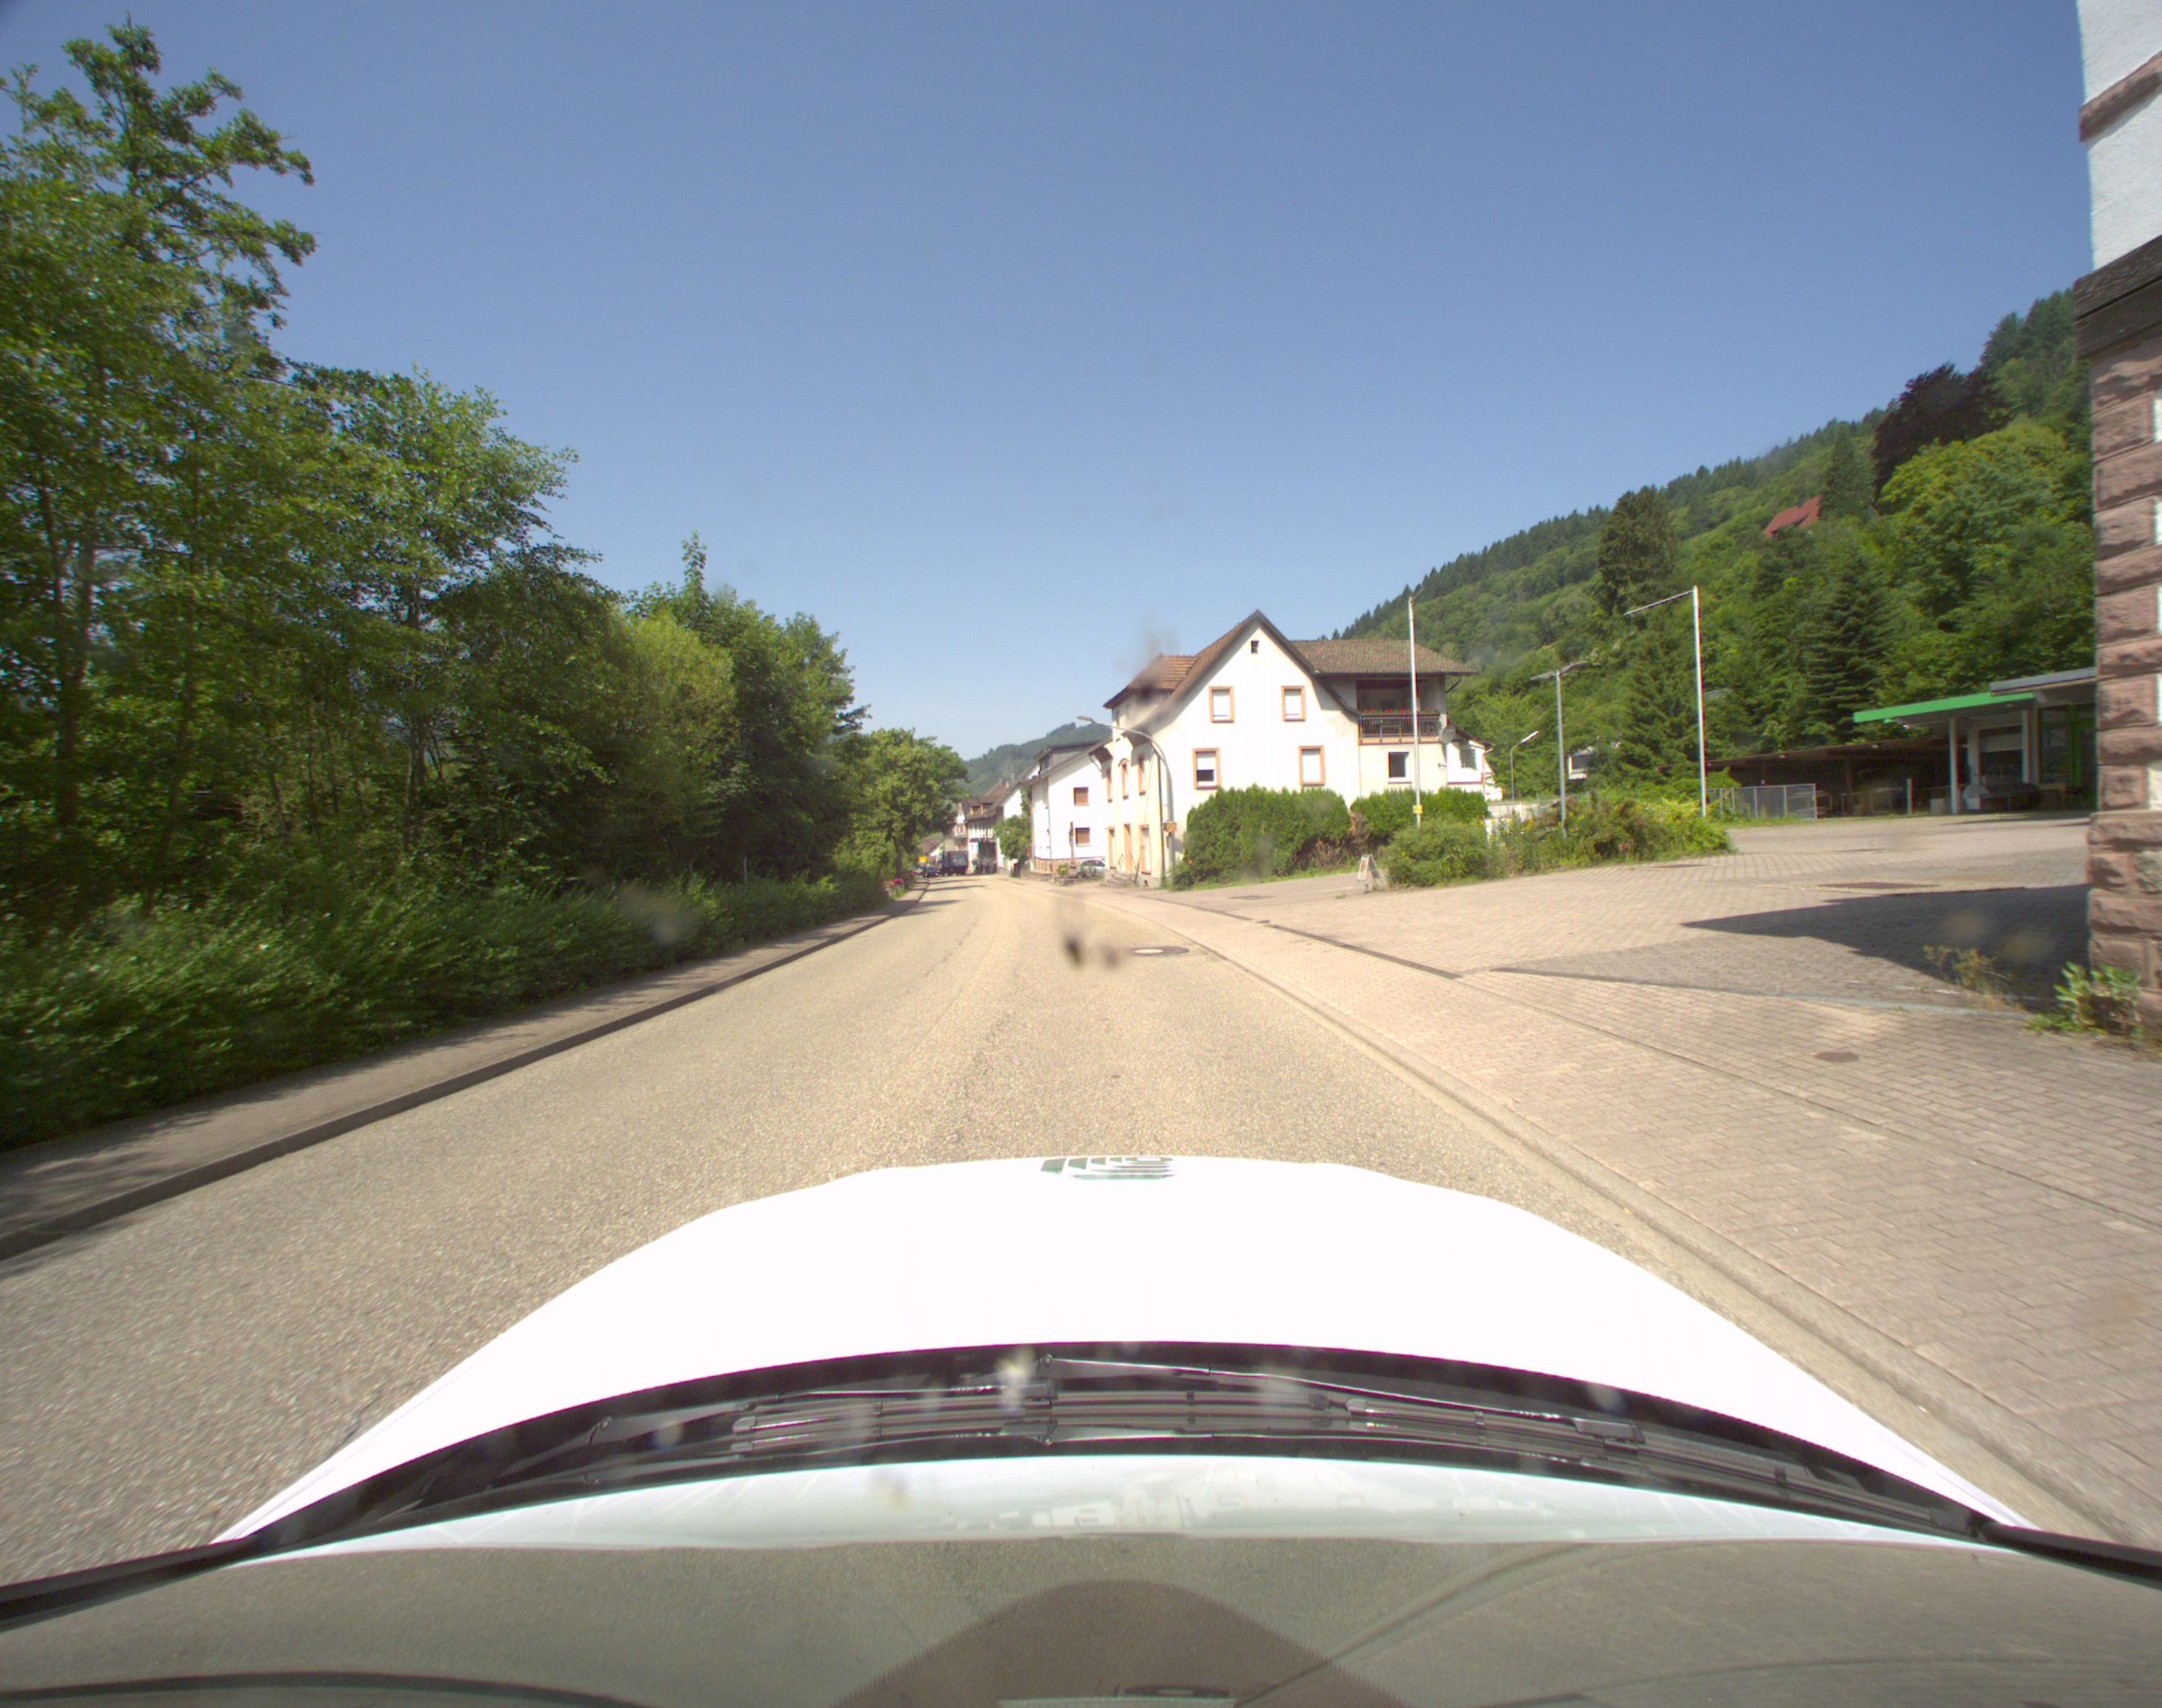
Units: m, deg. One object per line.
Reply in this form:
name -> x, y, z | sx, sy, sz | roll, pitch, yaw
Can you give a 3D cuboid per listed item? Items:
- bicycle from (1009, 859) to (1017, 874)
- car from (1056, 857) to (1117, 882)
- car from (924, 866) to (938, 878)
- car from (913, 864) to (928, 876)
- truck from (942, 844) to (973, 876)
bicycle -> -6.643, 1.246, 79.614 | 0.425, 1.396, 2.269 | -6, 0, -9
car -> 0.350, 1.077, 55.088 | 3.727, 1.427, 1.620 | -5, 0, 35
car -> -20.854, 2.515, 113.408 | 1.666, 1.418, 4.072 | -4, 0, -10
car -> -27.029, 2.651, 136.946 | 1.781, 1.734, 3.972 | -6, -2, -20
truck -> -17.431, 0.944, 114.446 | 3.368, 3.781, 8.399 | -6, -1, -14
